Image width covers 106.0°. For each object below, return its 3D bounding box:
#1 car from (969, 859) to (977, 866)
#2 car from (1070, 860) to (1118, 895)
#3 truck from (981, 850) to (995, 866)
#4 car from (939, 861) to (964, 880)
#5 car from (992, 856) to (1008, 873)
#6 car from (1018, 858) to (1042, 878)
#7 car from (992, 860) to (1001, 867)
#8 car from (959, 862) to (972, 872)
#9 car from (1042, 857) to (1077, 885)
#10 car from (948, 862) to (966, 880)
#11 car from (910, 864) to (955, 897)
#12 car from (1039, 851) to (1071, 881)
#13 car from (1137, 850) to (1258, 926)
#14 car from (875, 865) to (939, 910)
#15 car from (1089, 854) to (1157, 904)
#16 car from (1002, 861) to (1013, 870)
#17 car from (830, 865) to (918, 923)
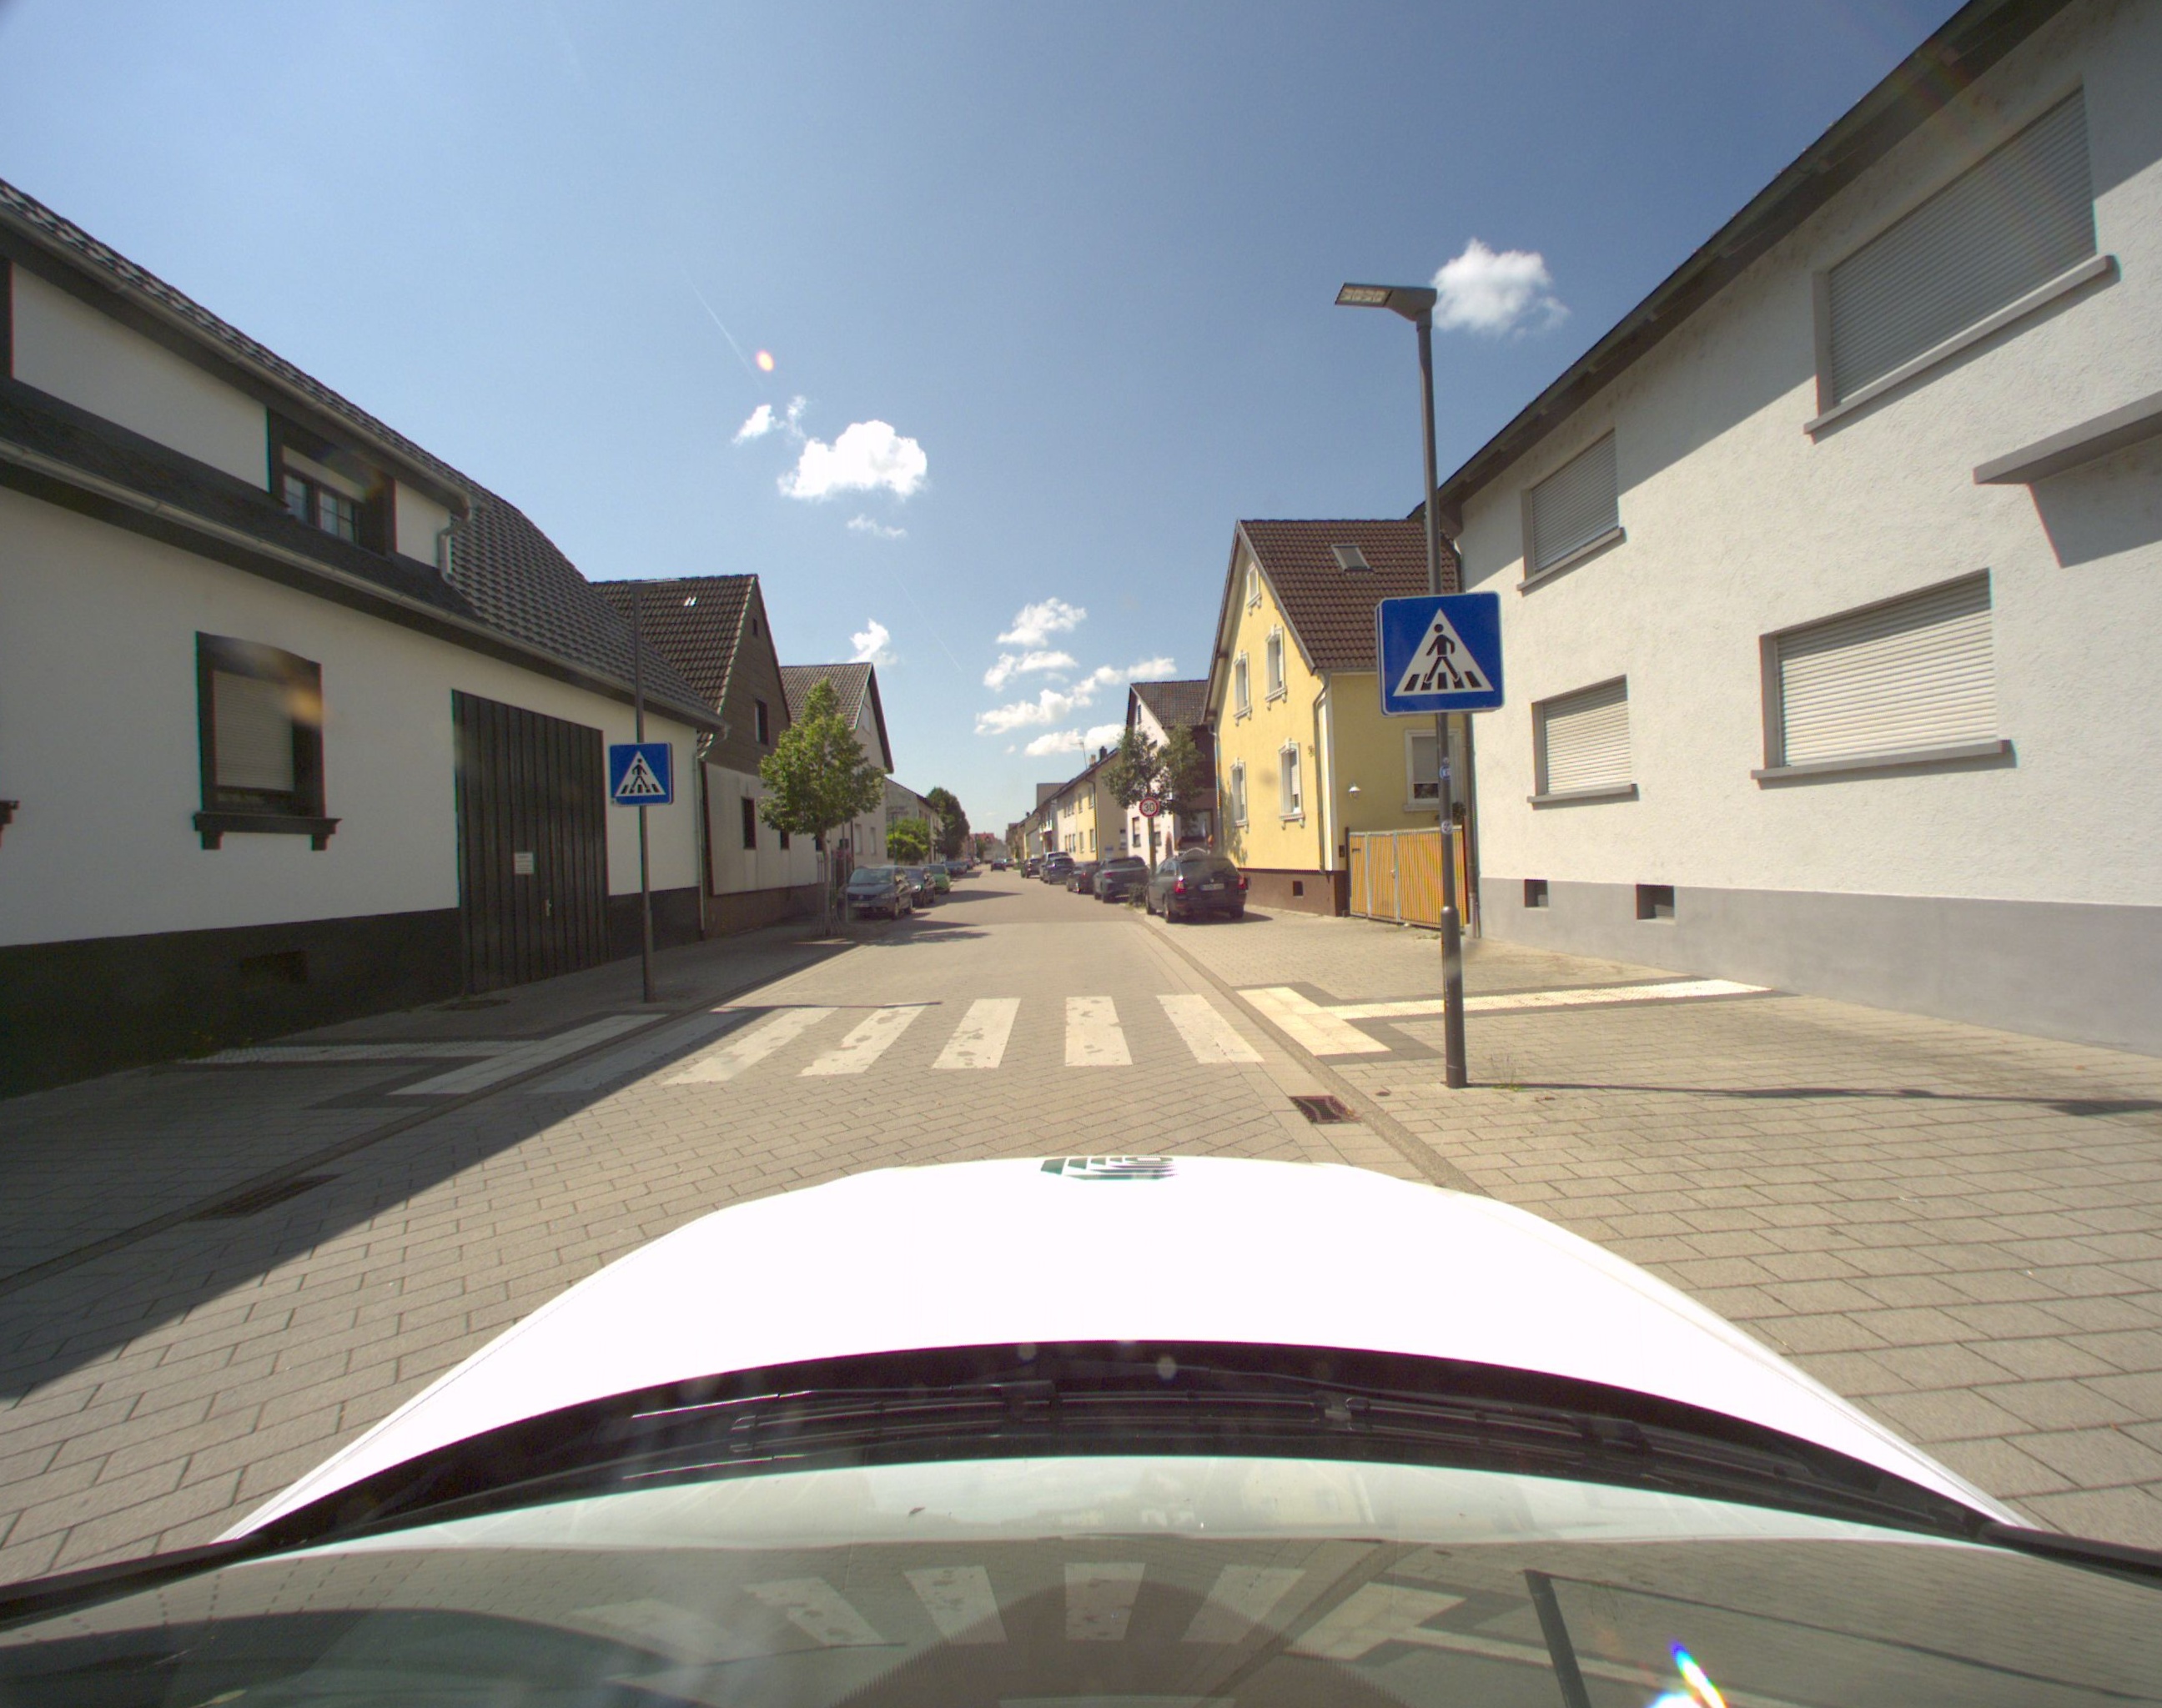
[{"bbox_3d":[-27.589,2.109,208.190,1.844,1.707,3.712,-3,0,-6],"label":"car"},{"bbox_3d":[0.525,1.014,36.525,1.708,1.387,3.699,-3,0,-5],"label":"car"},{"bbox_3d":[-25.136,1.007,219.299,3.562,3.953,8.557,-3,0,-8],"label":"truck"},{"bbox_3d":[-12.083,1.522,76.213,1.991,1.662,3.992,-3,0,-6],"label":"car"},{"bbox_3d":[-10.268,1.302,103.274,1.991,2.058,4.365,-3,0,-6],"label":"car"},{"bbox_3d":[-4.111,1.104,64.752,1.751,1.493,3.993,-3,0,-5],"label":"car"},{"bbox_3d":[-18.370,1.991,177.429,1.686,1.452,3.783,-3,0,-7],"label":"car"},{"bbox_3d":[-18.630,2.102,131.745,1.914,1.442,3.992,-3,0,-6],"label":"car"},{"bbox_3d":[-1.382,1.022,50.194,1.874,1.591,3.993,-3,0,-5],"label":"car"},{"bbox_3d":[-13.568,1.851,89.112,1.681,1.758,3.608,-3,0,-6],"label":"car"},{"bbox_3d":[-7.443,1.288,41.101,1.790,1.475,3.863,-3,0,-5],"label":"car"},{"bbox_3d":[-1.815,0.801,55.787,1.904,1.871,3.993,-3,0,-5],"label":"car"},{"bbox_3d":[2.627,0.750,19.368,1.826,1.471,4.268,-4,0,-5],"label":"car"},{"bbox_3d":[-6.522,1.208,30.922,1.747,1.532,4.253,-1,0,-4],"label":"car"},{"bbox_3d":[1.415,0.844,28.910,1.844,1.562,3.687,-3,0,-5],"label":"car"},{"bbox_3d":[-11.845,1.815,130.770,1.685,1.452,3.786,-3,0,-5],"label":"car"},{"bbox_3d":[-6.147,1.138,24.588,1.743,1.530,3.997,-1,0,-2],"label":"car"}]
